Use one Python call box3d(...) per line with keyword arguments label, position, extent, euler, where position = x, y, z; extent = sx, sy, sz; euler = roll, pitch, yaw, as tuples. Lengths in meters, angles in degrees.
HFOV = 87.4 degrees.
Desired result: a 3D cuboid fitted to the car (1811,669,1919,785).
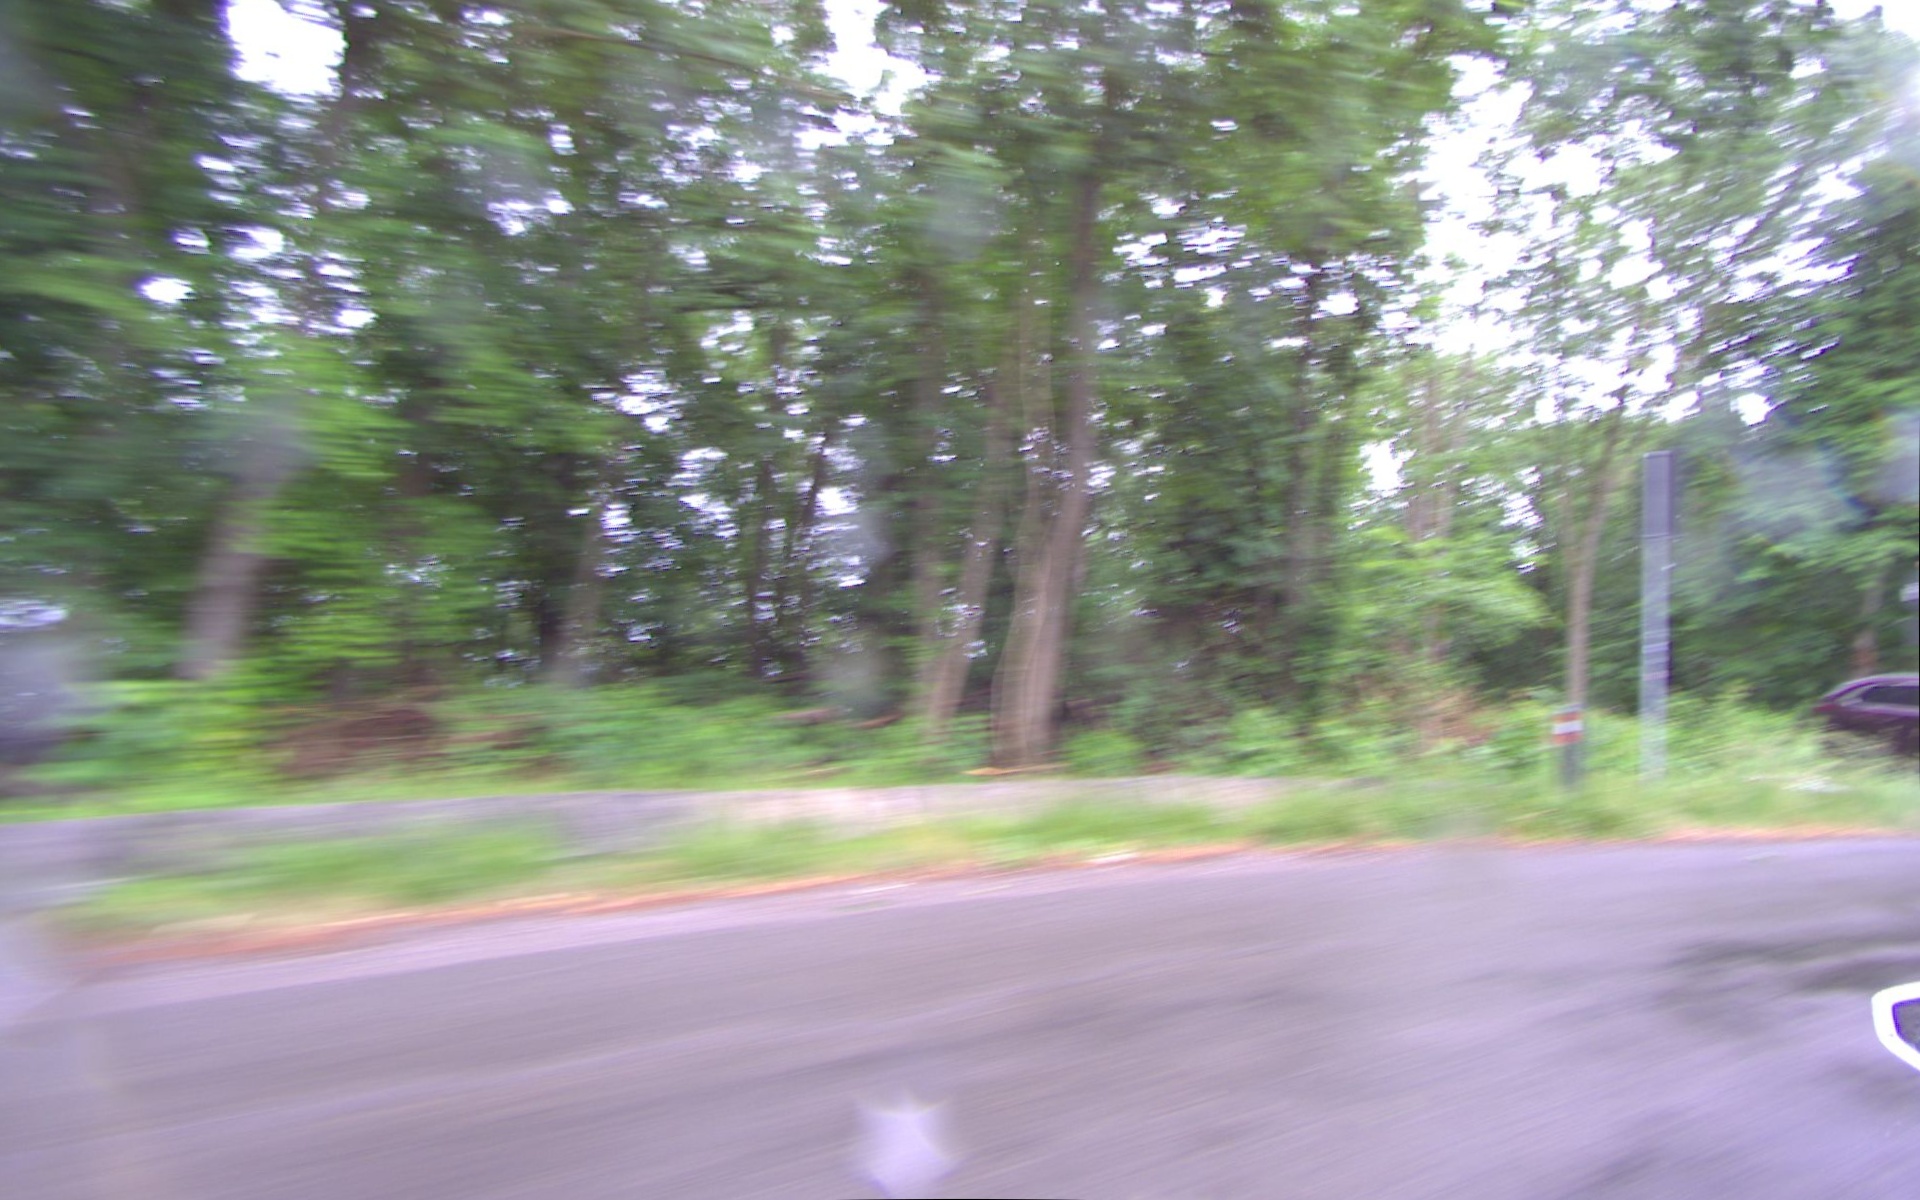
box3d(label="car", position=(15.549, 1.925, 14.510), extent=(1.844, 1.699, 4.829), euler=(1, -2, -14))
